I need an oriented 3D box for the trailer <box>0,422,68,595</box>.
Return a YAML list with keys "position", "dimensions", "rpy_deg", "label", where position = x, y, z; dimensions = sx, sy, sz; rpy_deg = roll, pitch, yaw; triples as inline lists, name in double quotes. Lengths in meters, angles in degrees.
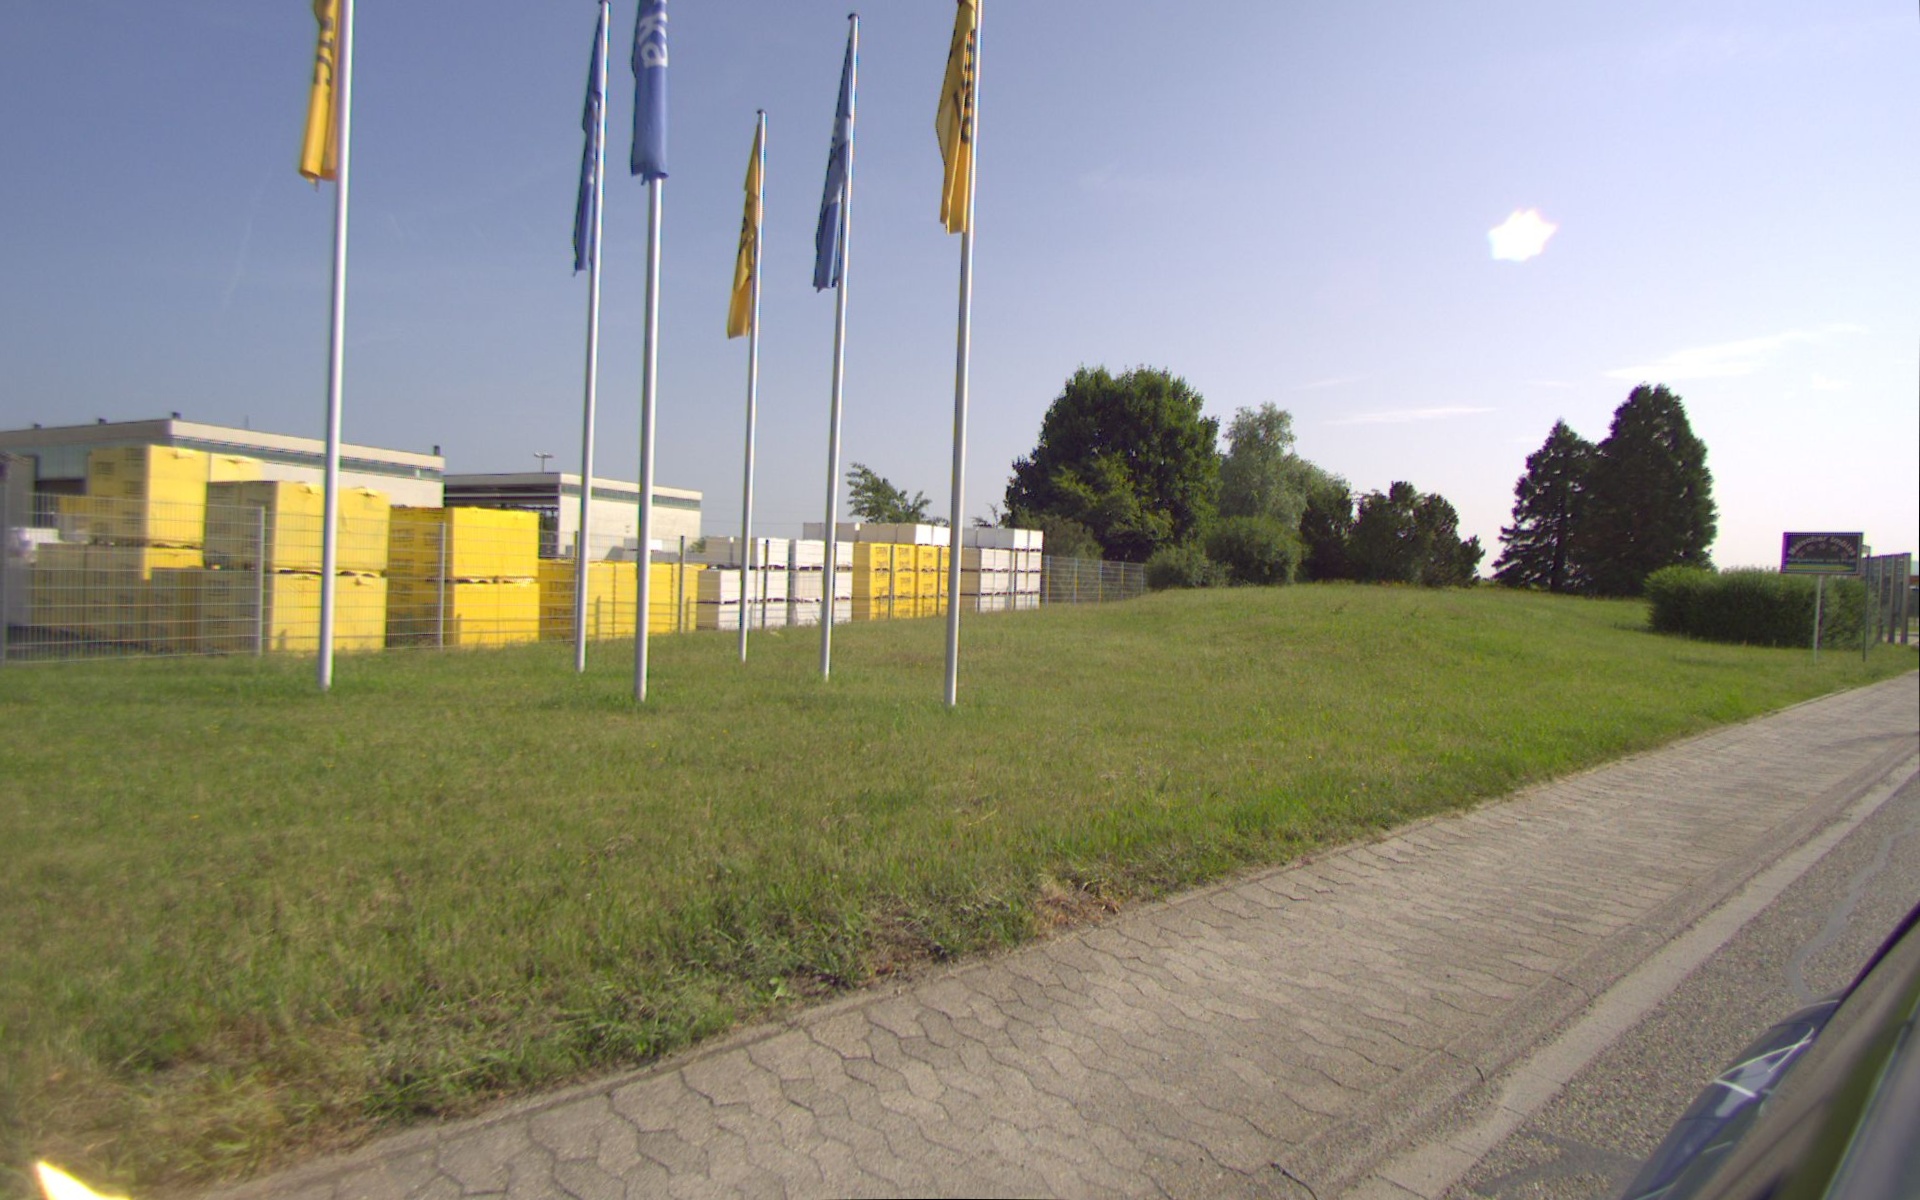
- position: [-24.087, -2.060, 21.260]
  dimensions: [2.461, 3.924, 7.729]
  rpy_deg: [0, 1, 27]
  label: "trailer"
